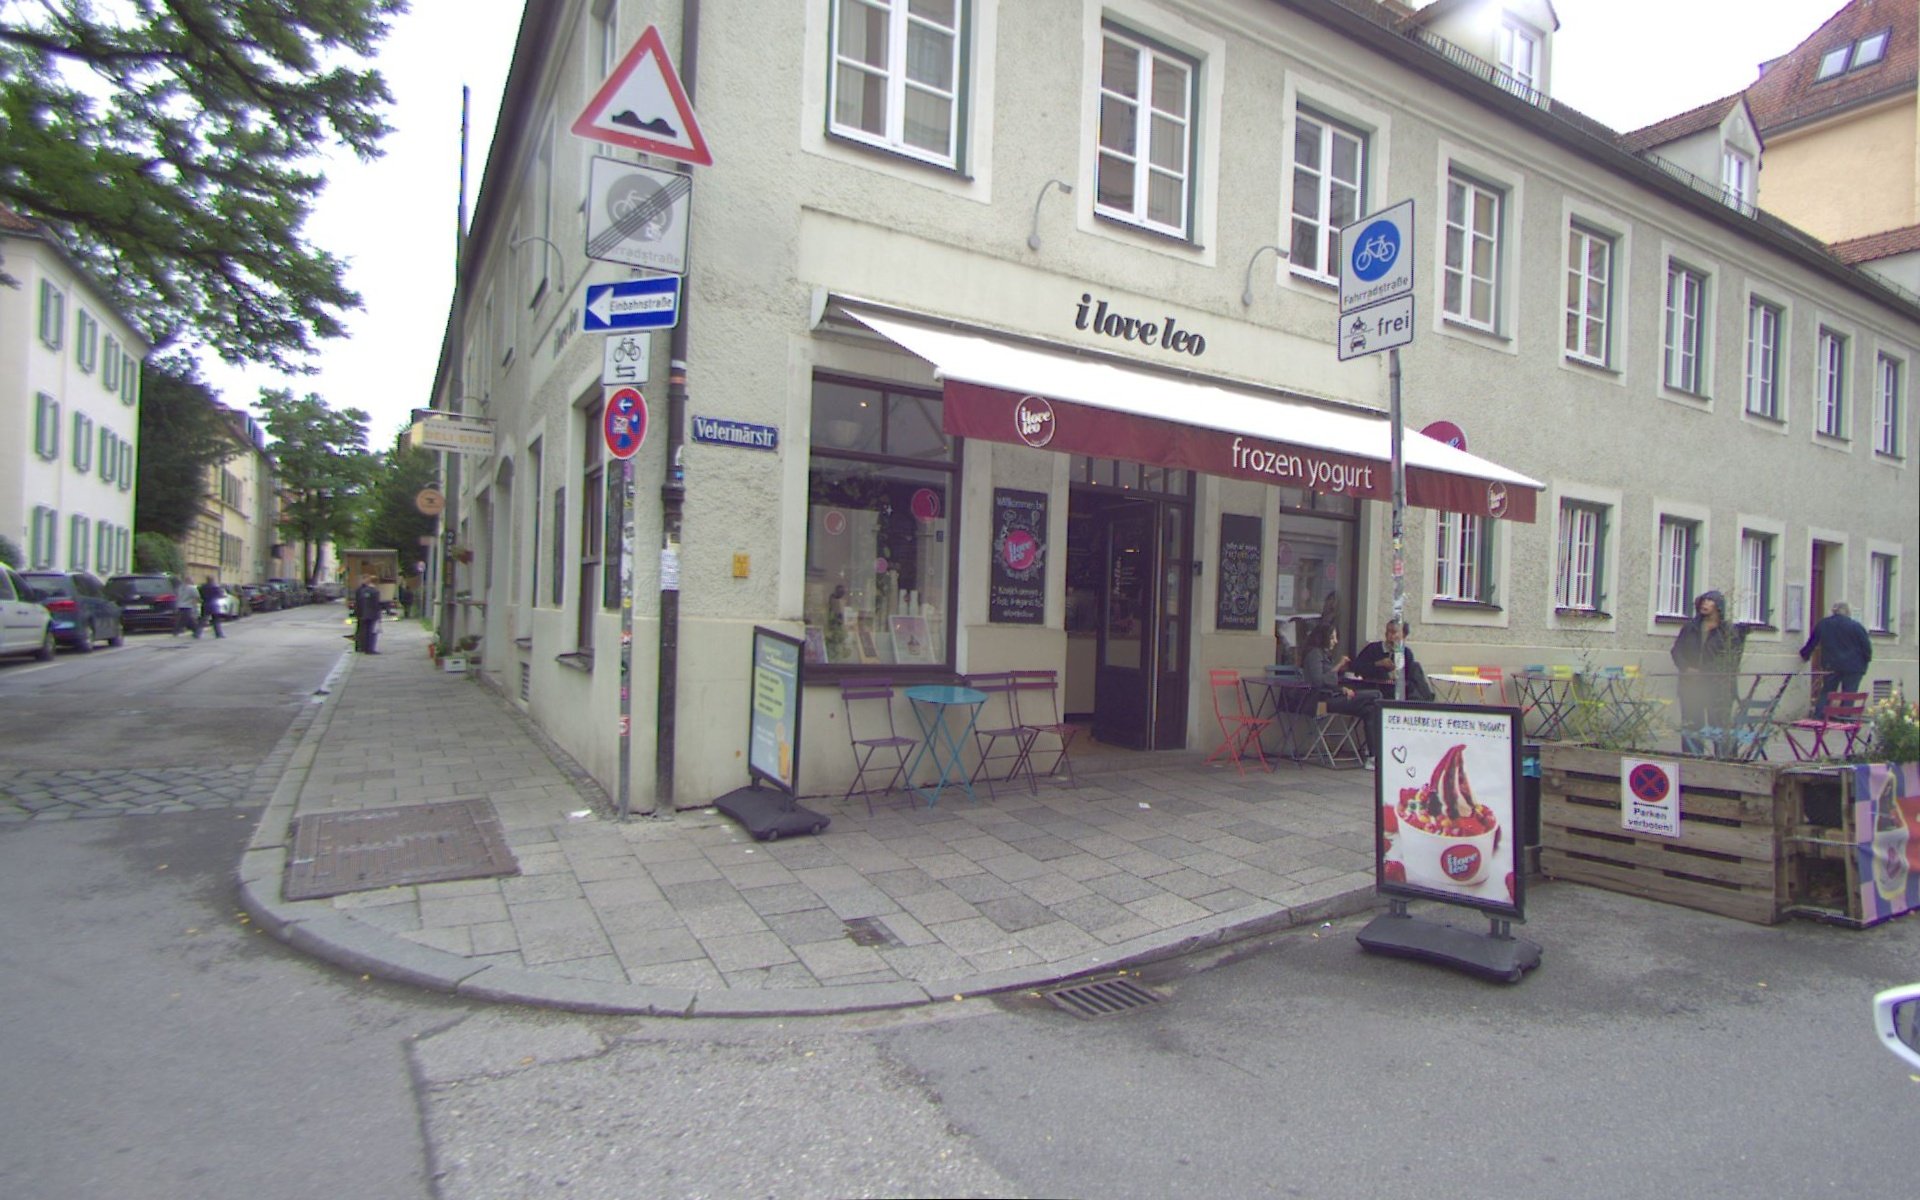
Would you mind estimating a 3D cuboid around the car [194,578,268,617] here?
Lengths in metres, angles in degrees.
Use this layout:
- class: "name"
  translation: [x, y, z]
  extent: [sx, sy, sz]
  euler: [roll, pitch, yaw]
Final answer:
- class: "car"
  translation: [-31.802, -0.130, 43.934]
  extent: [1.971, 1.617, 4.137]
  euler: [-1, 1, -28]

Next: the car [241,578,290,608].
- class: "car"
  translation: [-39.158, -0.401, 56.693]
  extent: [1.753, 1.617, 4.137]
  euler: [-1, 1, -28]

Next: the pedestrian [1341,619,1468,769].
- class: "pedestrian"
  translation: [4.158, 0.856, 9.422]
  extent: [0.685, 1.307, 0.799]
  euler: [3, -1, -30]

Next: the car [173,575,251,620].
- class: "car"
  translation: [-28.757, -0.106, 38.738]
  extent: [1.753, 1.617, 4.137]
  euler: [-1, 1, -28]

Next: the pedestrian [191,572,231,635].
- class: "pedestrian"
  translation: [-19.865, 0.106, 26.654]
  extent: [0.565, 1.618, 0.679]
  euler: [3, -1, -17]

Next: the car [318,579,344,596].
- class: "car"
  translation: [-62.025, -1.186, 99.104]
  extent: [1.753, 1.617, 4.137]
  euler: [-1, 1, -28]

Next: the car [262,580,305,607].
- class: "car"
  translation: [-43.512, -0.434, 64.676]
  extent: [1.753, 1.617, 4.137]
  euler: [-1, 1, -28]

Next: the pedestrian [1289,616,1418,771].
- class: "pedestrian"
  translation: [3.541, 0.819, 9.061]
  extent: [0.685, 1.307, 0.799]
  euler: [3, -1, -30]

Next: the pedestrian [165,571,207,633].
- class: "pedestrian"
  translation: [-20.622, 0.069, 26.779]
  extent: [0.564, 1.602, 0.680]
  euler: [3, -1, -12]

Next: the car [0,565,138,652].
- class: "car"
  translation: [-18.563, 0.147, 20.631]
  extent: [1.753, 1.617, 4.137]
  euler: [-1, 1, -28]

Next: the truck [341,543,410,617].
- class: "truck"
  translation: [-28.305, -0.917, 48.860]
  extent: [2.549, 3.236, 6.688]
  euler: [3, -1, -28]

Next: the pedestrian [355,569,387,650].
- class: "pedestrian"
  translation: [-13.352, 0.218, 22.770]
  extent: [0.525, 1.810, 0.487]
  euler: [3, -1, -32]

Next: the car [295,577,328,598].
- class: "car"
  translation: [-51.917, -0.971, 80.464]
  extent: [1.753, 1.617, 4.137]
  euler: [-1, 1, -28]

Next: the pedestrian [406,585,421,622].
- class: "pedestrian"
  translation: [-26.748, 0.162, 49.172]
  extent: [0.550, 1.752, 0.526]
  euler: [3, -1, -30]

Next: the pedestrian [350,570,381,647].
- class: "pedestrian"
  translation: [-13.799, 0.195, 23.325]
  extent: [0.525, 1.752, 0.552]
  euler: [3, -1, -32]

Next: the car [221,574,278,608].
- class: "car"
  translation: [-36.043, -0.452, 51.038]
  extent: [1.753, 1.617, 4.137]
  euler: [-1, 1, -28]

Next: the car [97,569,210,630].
- class: "car"
  translation: [-23.518, -0.041, 29.441]
  extent: [1.753, 1.617, 4.137]
  euler: [-1, 1, -28]

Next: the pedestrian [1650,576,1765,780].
- class: "pedestrian"
  translation: [6.968, 0.714, 9.364]
  extent: [0.867, 1.805, 0.526]
  euler: [3, -1, -30]

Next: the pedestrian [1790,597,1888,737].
- class: "pedestrian"
  translation: [12.618, 0.943, 14.419]
  extent: [0.818, 1.922, 0.818]
  euler: [3, -1, -31]

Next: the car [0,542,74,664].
- class: "car"
  translation: [-16.129, 0.061, 16.063]
  extent: [1.883, 1.870, 4.430]
  euler: [-1, 1, -28]
